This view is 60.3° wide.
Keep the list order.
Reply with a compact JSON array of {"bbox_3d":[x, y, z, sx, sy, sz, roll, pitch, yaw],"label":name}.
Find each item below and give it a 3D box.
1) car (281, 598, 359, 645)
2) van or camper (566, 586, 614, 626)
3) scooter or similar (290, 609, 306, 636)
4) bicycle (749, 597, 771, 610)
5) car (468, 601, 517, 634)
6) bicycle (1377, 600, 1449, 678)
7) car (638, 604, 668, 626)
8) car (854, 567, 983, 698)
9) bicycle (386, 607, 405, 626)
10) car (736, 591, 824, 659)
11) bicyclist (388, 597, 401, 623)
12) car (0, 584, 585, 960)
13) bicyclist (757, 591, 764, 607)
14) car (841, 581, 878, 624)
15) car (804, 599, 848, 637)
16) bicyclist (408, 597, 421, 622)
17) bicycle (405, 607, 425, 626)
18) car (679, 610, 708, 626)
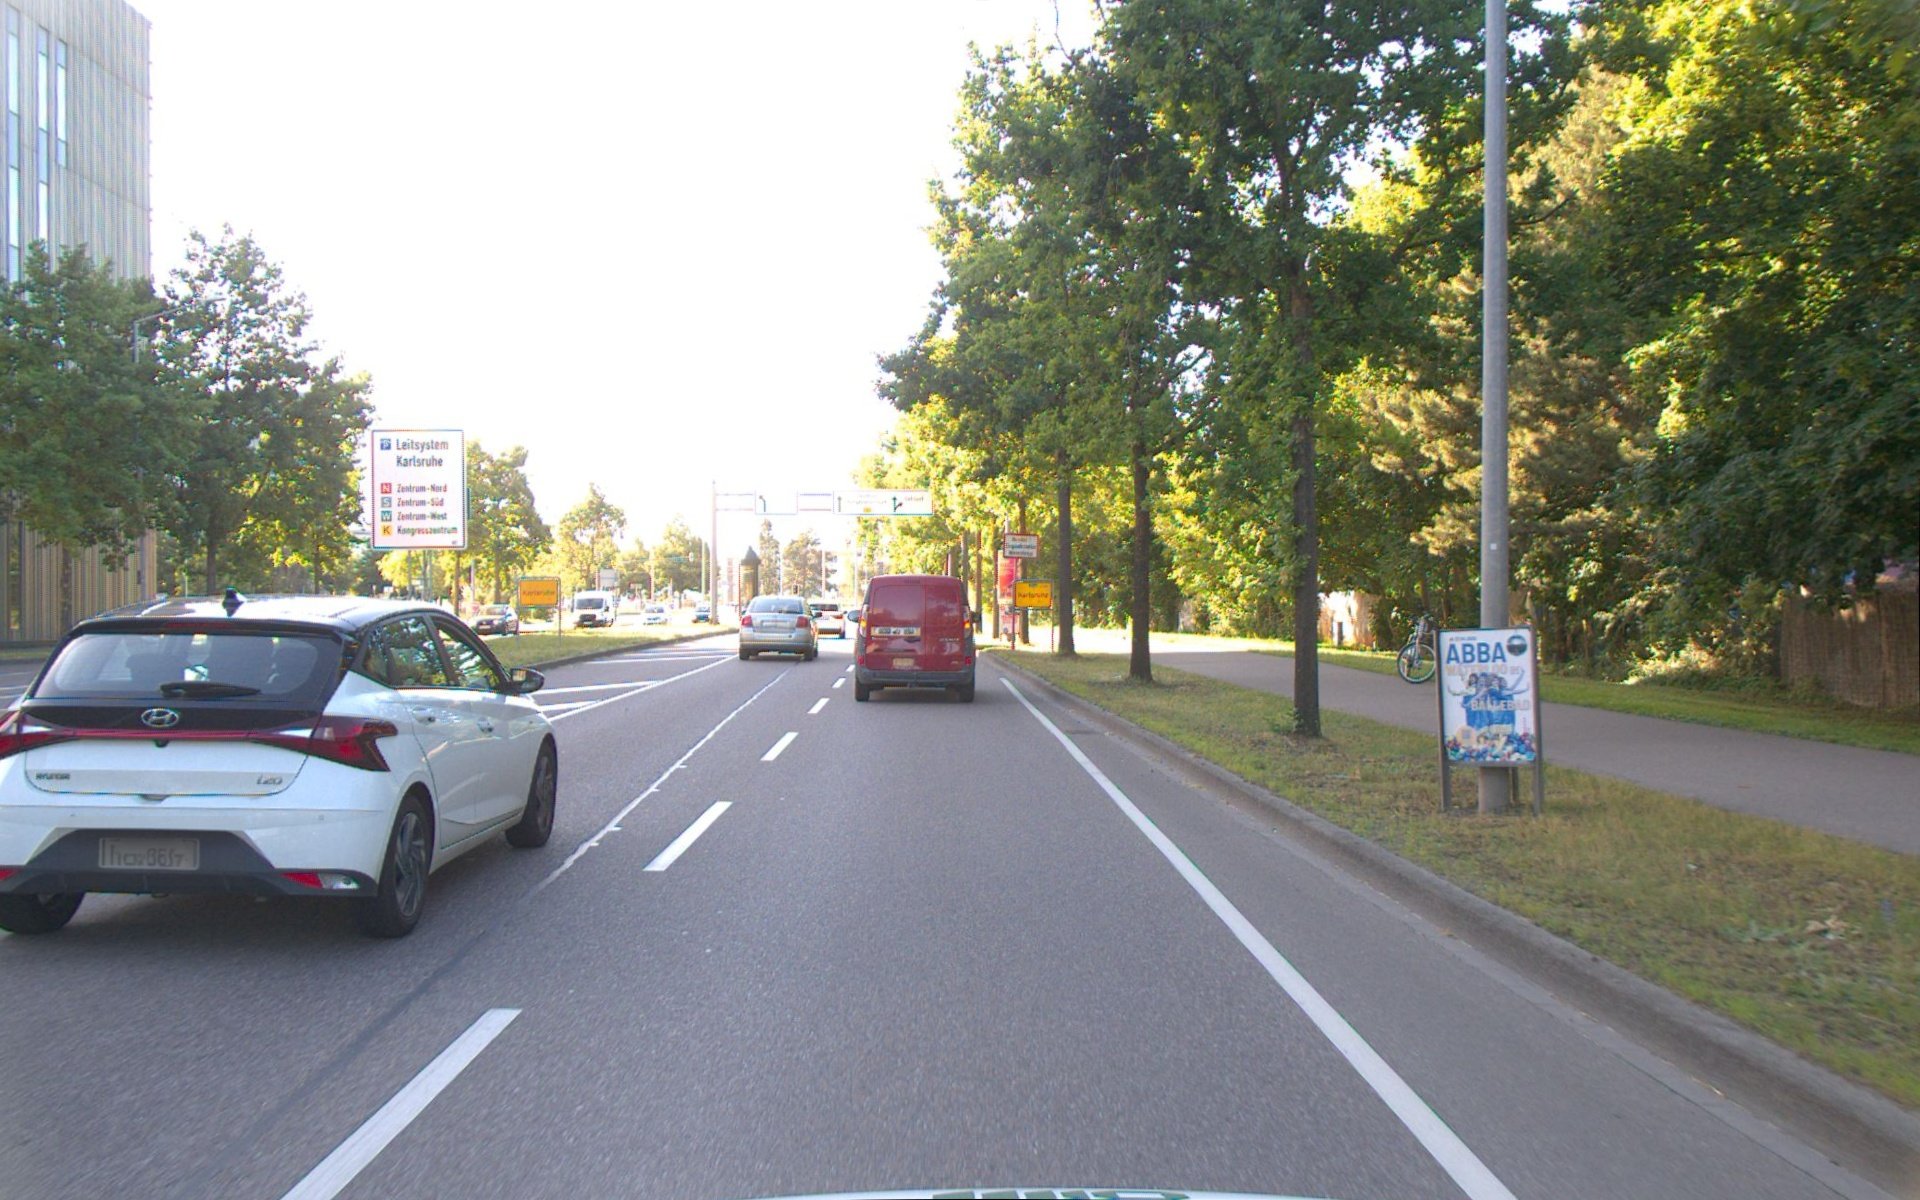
[{"bbox_3d":[-20.888,0.678,54.073,1.417,1.461,3.456,0,0,-4],"label":"car"},{"bbox_3d":[-23.246,0.336,104.014,1.954,2.410,5.989,-2,0,-4],"label":"van or camper"},{"bbox_3d":[-28.975,0.998,72.404,0.226,1.169,1.327,0,0,-3],"label":"scooter or similar"},{"bbox_3d":[-17.800,0.291,147.528,1.920,1.186,0.517,0,0,-5],"label":"bicycle"},{"bbox_3d":[-22.671,0.826,80.263,1.520,1.534,4.023,0,0,-4],"label":"car"},{"bbox_3d":[6.980,0.584,25.557,0.757,1.151,1.709,0,0,5],"label":"bicycle"},{"bbox_3d":[-21.388,1.009,115.500,1.655,1.502,4.045,0,0,-5],"label":"car"},{"bbox_3d":[-0.688,0.441,24.904,1.770,1.790,4.003,1,0,-3],"label":"car"},{"bbox_3d":[-31.343,0.898,91.777,0.477,1.021,2.094,0,0,-4],"label":"bicycle"},{"bbox_3d":[-4.223,0.559,39.250,1.804,1.482,4.160,1,0,-3],"label":"car"},{"bbox_3d":[-31.339,0.541,91.687,0.473,1.419,0.844,0,-1,-4],"label":"bicyclist"},{"bbox_3d":[-3.189,0.649,8.391,1.742,1.433,4.073,1,0,-2],"label":"car"},{"bbox_3d":[-17.762,-0.085,147.533,0.591,1.494,0.517,0,0,-5],"label":"bicyclist"},{"bbox_3d":[-4.570,0.108,75.268,1.628,1.889,3.556,0,0,-3],"label":"car"},{"bbox_3d":[-5.158,0.671,63.900,1.628,1.422,3.556,0,0,-3],"label":"car"},{"bbox_3d":[-30.286,0.519,91.821,0.551,1.417,0.747,0,-1,-4],"label":"bicyclist"},{"bbox_3d":[-30.287,0.902,91.885,0.559,1.021,2.094,0,0,-4],"label":"bicycle"},{"bbox_3d":[-19.589,1.337,121.705,1.792,1.131,4.170,0,0,-5],"label":"car"}]
